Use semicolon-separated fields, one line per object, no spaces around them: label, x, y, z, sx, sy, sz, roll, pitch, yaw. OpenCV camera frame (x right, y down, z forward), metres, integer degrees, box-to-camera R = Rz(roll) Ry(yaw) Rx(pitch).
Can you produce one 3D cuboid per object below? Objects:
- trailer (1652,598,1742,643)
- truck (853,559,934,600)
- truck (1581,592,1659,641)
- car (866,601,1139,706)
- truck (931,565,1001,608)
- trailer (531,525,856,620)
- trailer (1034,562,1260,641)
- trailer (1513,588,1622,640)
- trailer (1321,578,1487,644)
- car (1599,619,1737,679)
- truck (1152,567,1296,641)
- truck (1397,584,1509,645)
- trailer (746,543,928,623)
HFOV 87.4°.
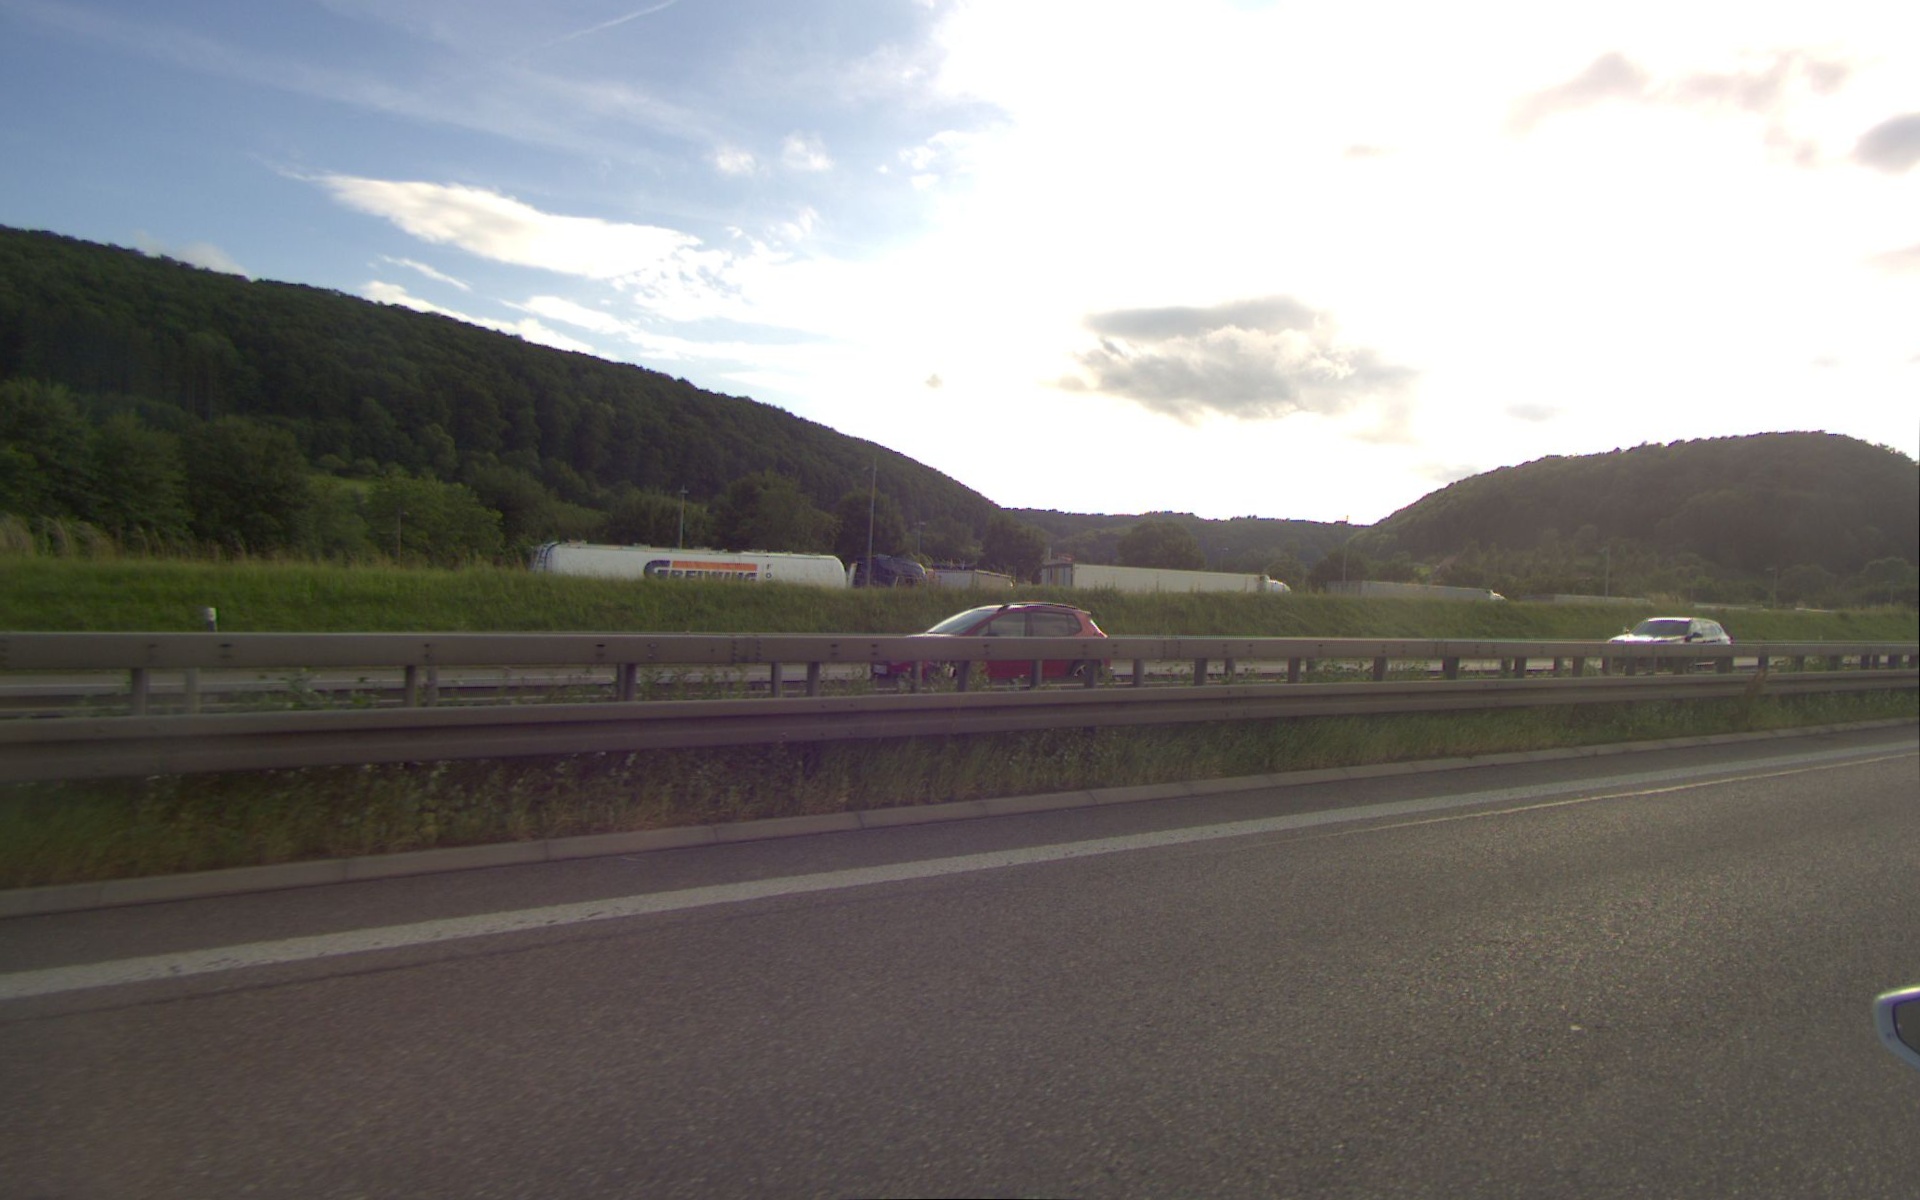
trailer;64.742;1.877;88.099;10.259;3.745;2.861;2;-1;-33
truck;-3.858;-1.174;59.997;2.842;2.040;7.313;3;-1;12
truck;53.010;1.344;80.632;6.520;3.739;2.865;2;-1;-33
car;0.724;0.851;16.536;4.163;1.550;1.834;1;-2;-28
truck;0.495;-0.774;62.781;2.842;2.255;7.313;3;-1;12
trailer;-10.201;-0.935;39.706;12.128;2.891;2.565;3;-1;-32
trailer;10.088;0.212;52.706;13.534;3.745;2.859;2;-1;-34
trailer;46.243;1.151;76.259;10.259;3.745;2.861;2;-1;-33
trailer;28.822;0.855;64.735;13.529;3.744;2.861;3;-2;-33
car;21.421;1.488;30.367;4.291;1.635;1.798;3;-1;-31
truck;14.751;0.329;55.843;8.403;3.739;2.865;2;-2;-33
truck;33.253;1.051;67.577;8.401;3.739;2.865;3;-2;-33
trailer;-5.175;-0.654;42.845;7.225;2.891;2.598;3;-1;-32
